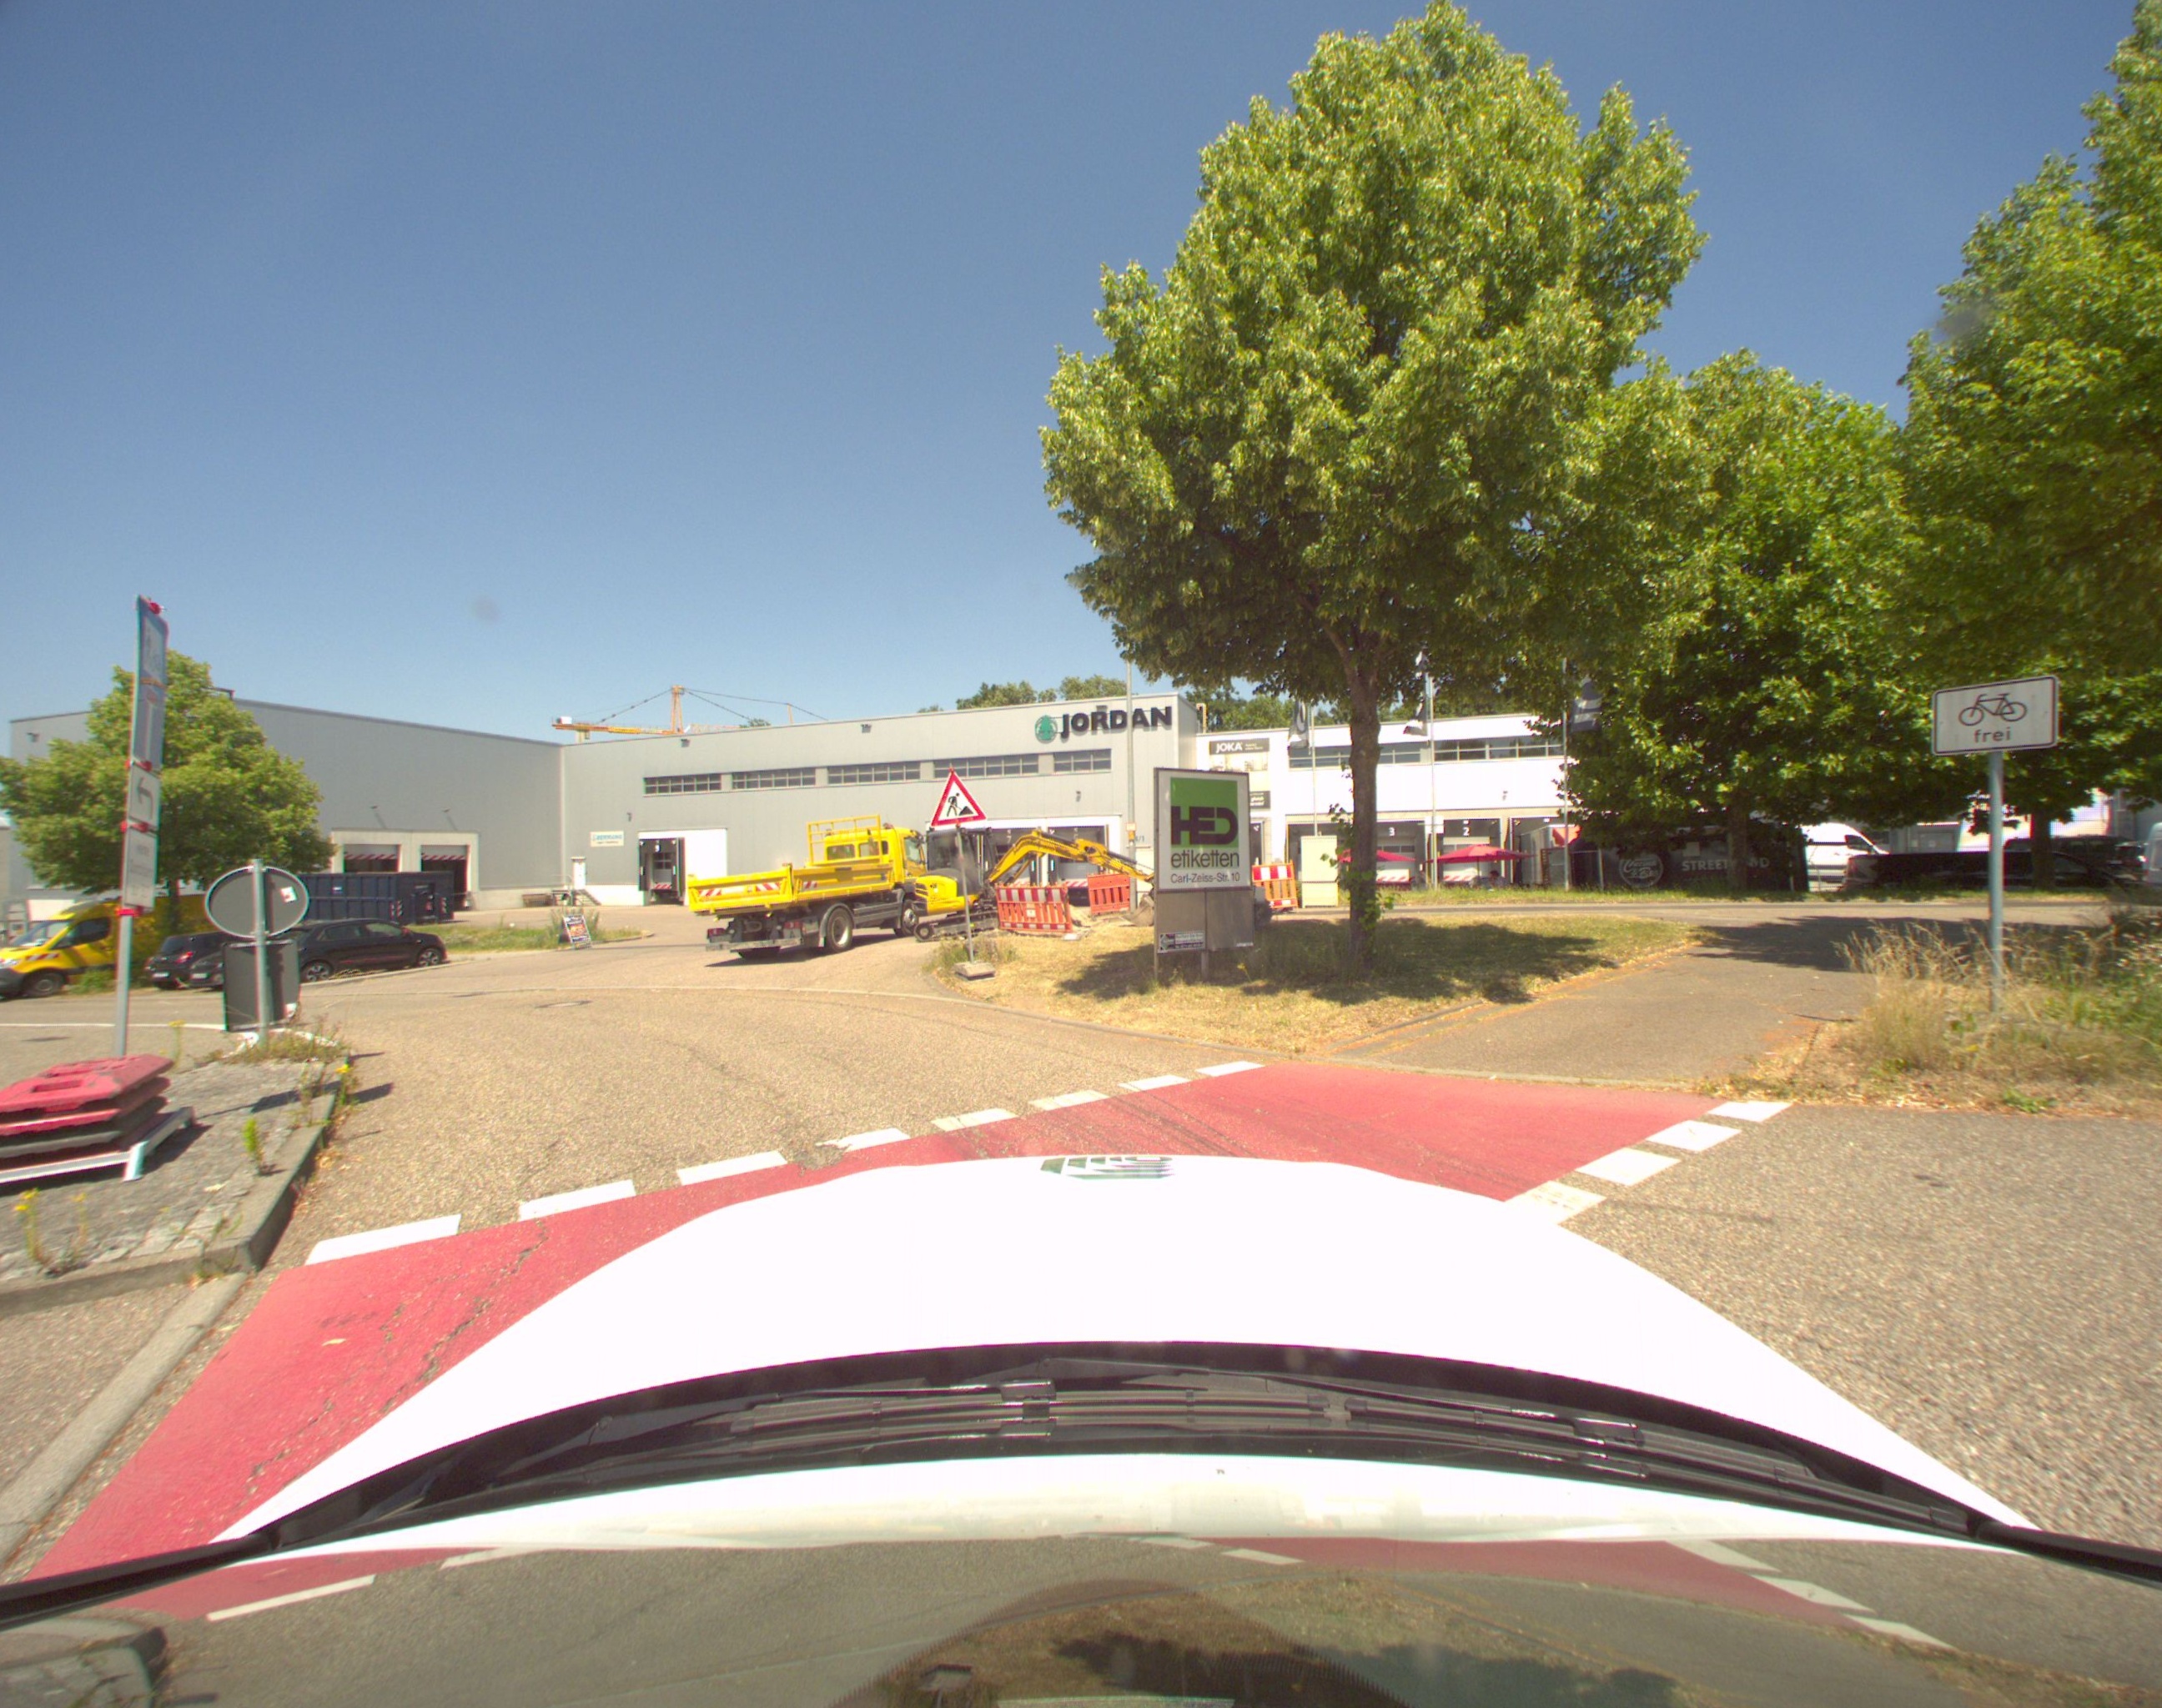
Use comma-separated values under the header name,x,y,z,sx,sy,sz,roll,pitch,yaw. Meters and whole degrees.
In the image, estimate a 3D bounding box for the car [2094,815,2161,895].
name,x,y,z,sx,sy,sz,roll,pitch,yaw
car,27.950,0.018,19.880,1.535,2.014,4.274,1,-1,8

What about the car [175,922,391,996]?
name,x,y,z,sx,sy,sz,roll,pitch,yaw
car,-21.196,2.754,21.836,1.573,1.507,3.799,-3,-1,17

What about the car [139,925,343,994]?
name,x,y,z,sx,sy,sz,roll,pitch,yaw
car,-23.494,2.911,22.958,1.610,1.478,3.630,-3,-2,17

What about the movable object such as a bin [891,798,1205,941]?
name,x,y,z,sx,sy,sz,roll,pitch,yaw
movable object such as a bin,-0.807,0.444,17.767,6.497,2.581,2.011,-4,-3,23

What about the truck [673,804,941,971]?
name,x,y,z,sx,sy,sz,roll,pitch,yaw
truck,-5.972,0.598,19.120,2.568,3.136,6.451,-4,0,15

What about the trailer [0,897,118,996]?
name,x,y,z,sx,sy,sz,roll,pitch,yaw
trailer,-35.174,3.012,26.567,5.461,2.857,2.676,-3,0,15

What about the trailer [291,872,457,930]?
name,x,y,z,sx,sy,sz,roll,pitch,yaw
trailer,-33.555,2.148,38.630,7.327,2.421,2.681,1,-1,21

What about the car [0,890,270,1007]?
name,x,y,z,sx,sy,sz,roll,pitch,yaw
car,-28.188,2.604,23.961,1.978,2.732,5.825,-2,0,18

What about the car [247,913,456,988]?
name,x,y,z,sx,sy,sz,roll,pitch,yaw
car,-18.975,2.463,21.385,1.608,1.462,3.690,-4,0,19

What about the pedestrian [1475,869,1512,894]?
name,x,y,z,sx,sy,sz,roll,pitch,yaw
pedestrian,12.160,0.804,24.017,0.855,0.695,0.410,-3,-2,42

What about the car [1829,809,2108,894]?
name,x,y,z,sx,sy,sz,roll,pitch,yaw
car,20.548,-0.022,19.106,3.953,1.728,1.850,-3,-2,20
